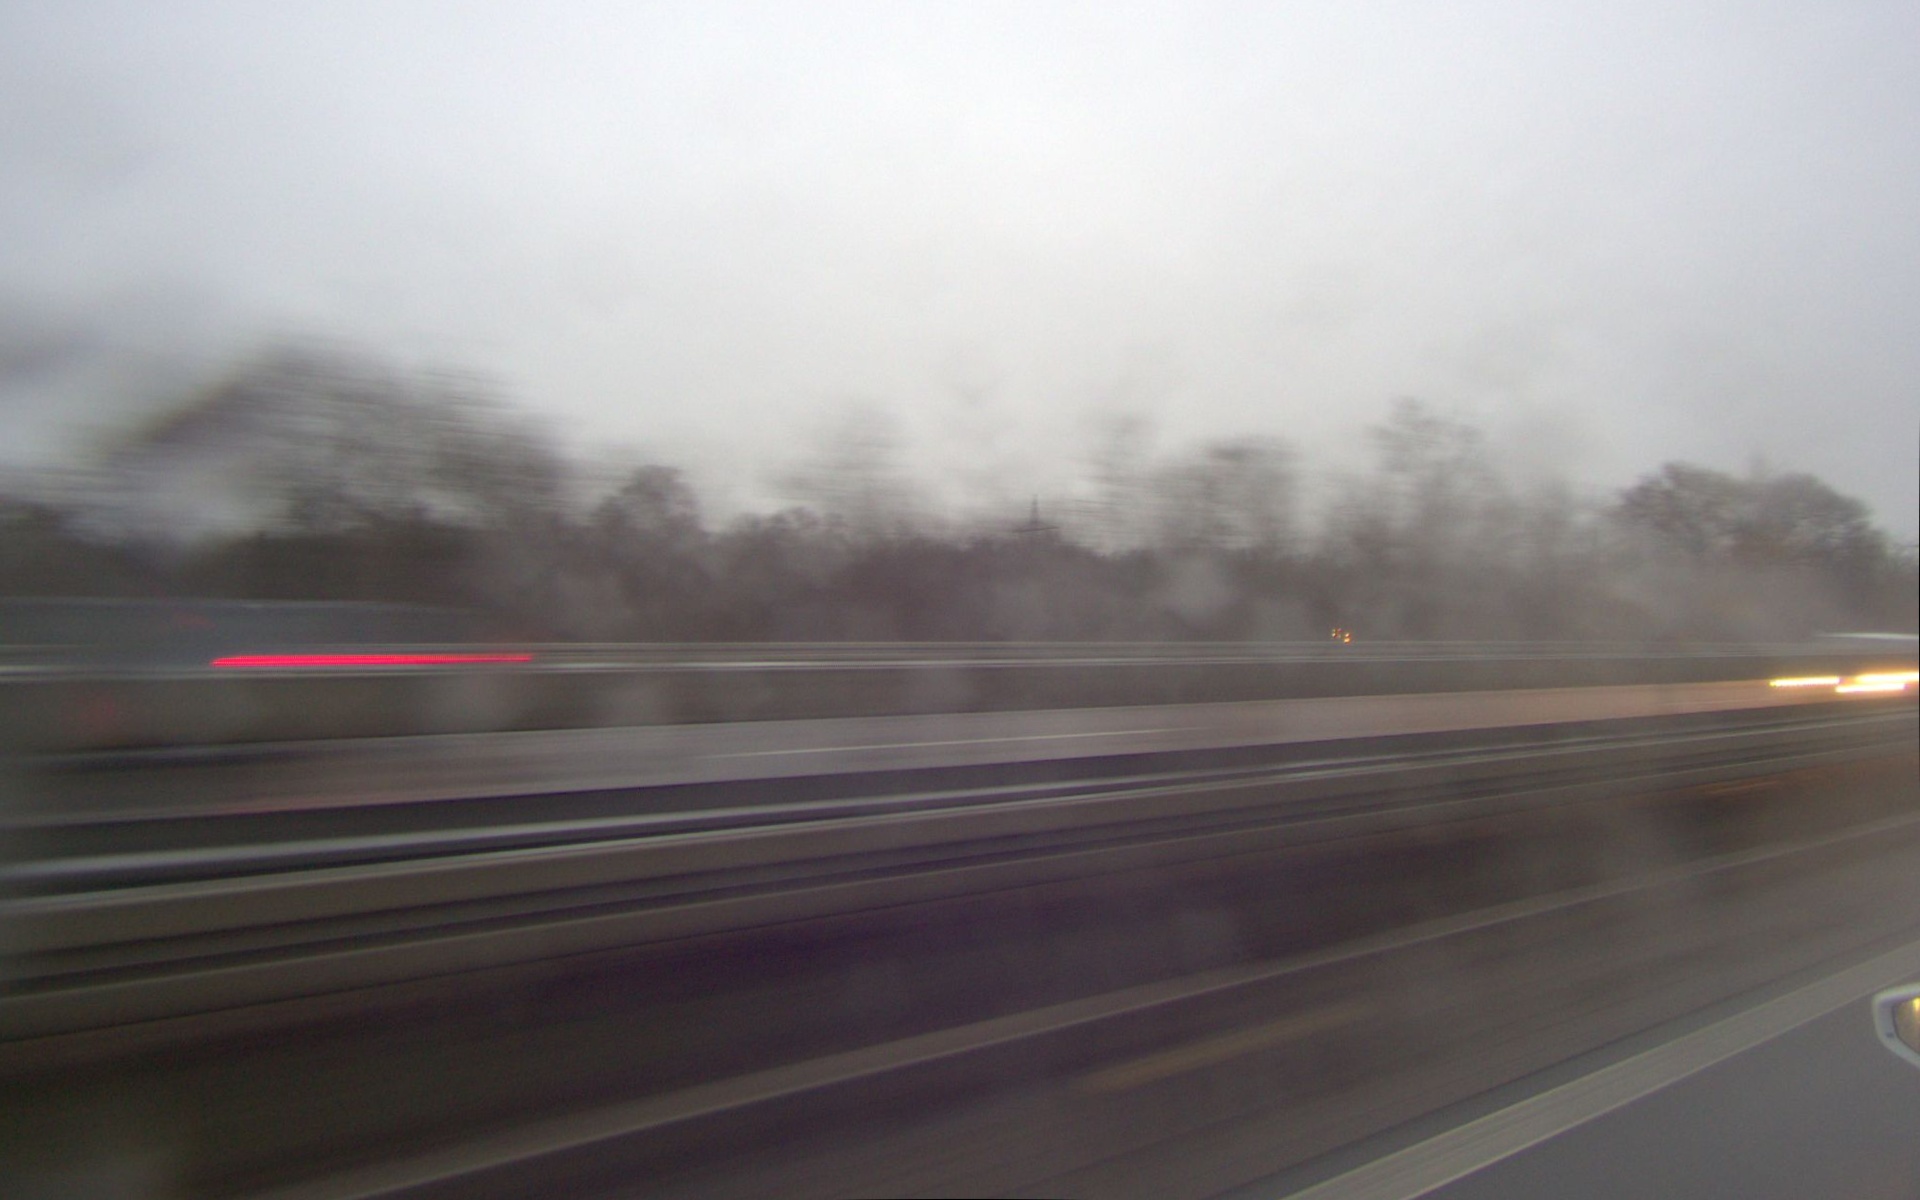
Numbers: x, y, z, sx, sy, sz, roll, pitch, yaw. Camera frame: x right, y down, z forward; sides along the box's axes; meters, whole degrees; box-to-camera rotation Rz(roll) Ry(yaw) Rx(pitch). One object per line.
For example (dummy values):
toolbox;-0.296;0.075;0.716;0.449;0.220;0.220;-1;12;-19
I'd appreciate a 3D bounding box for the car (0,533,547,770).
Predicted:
car;-6.565;0.429;9.397;4.752;1.815;2.154;1;-1;-30

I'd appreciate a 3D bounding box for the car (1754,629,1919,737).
car;17.638;1.487;19.306;4.752;1.815;2.154;1;-1;-30
